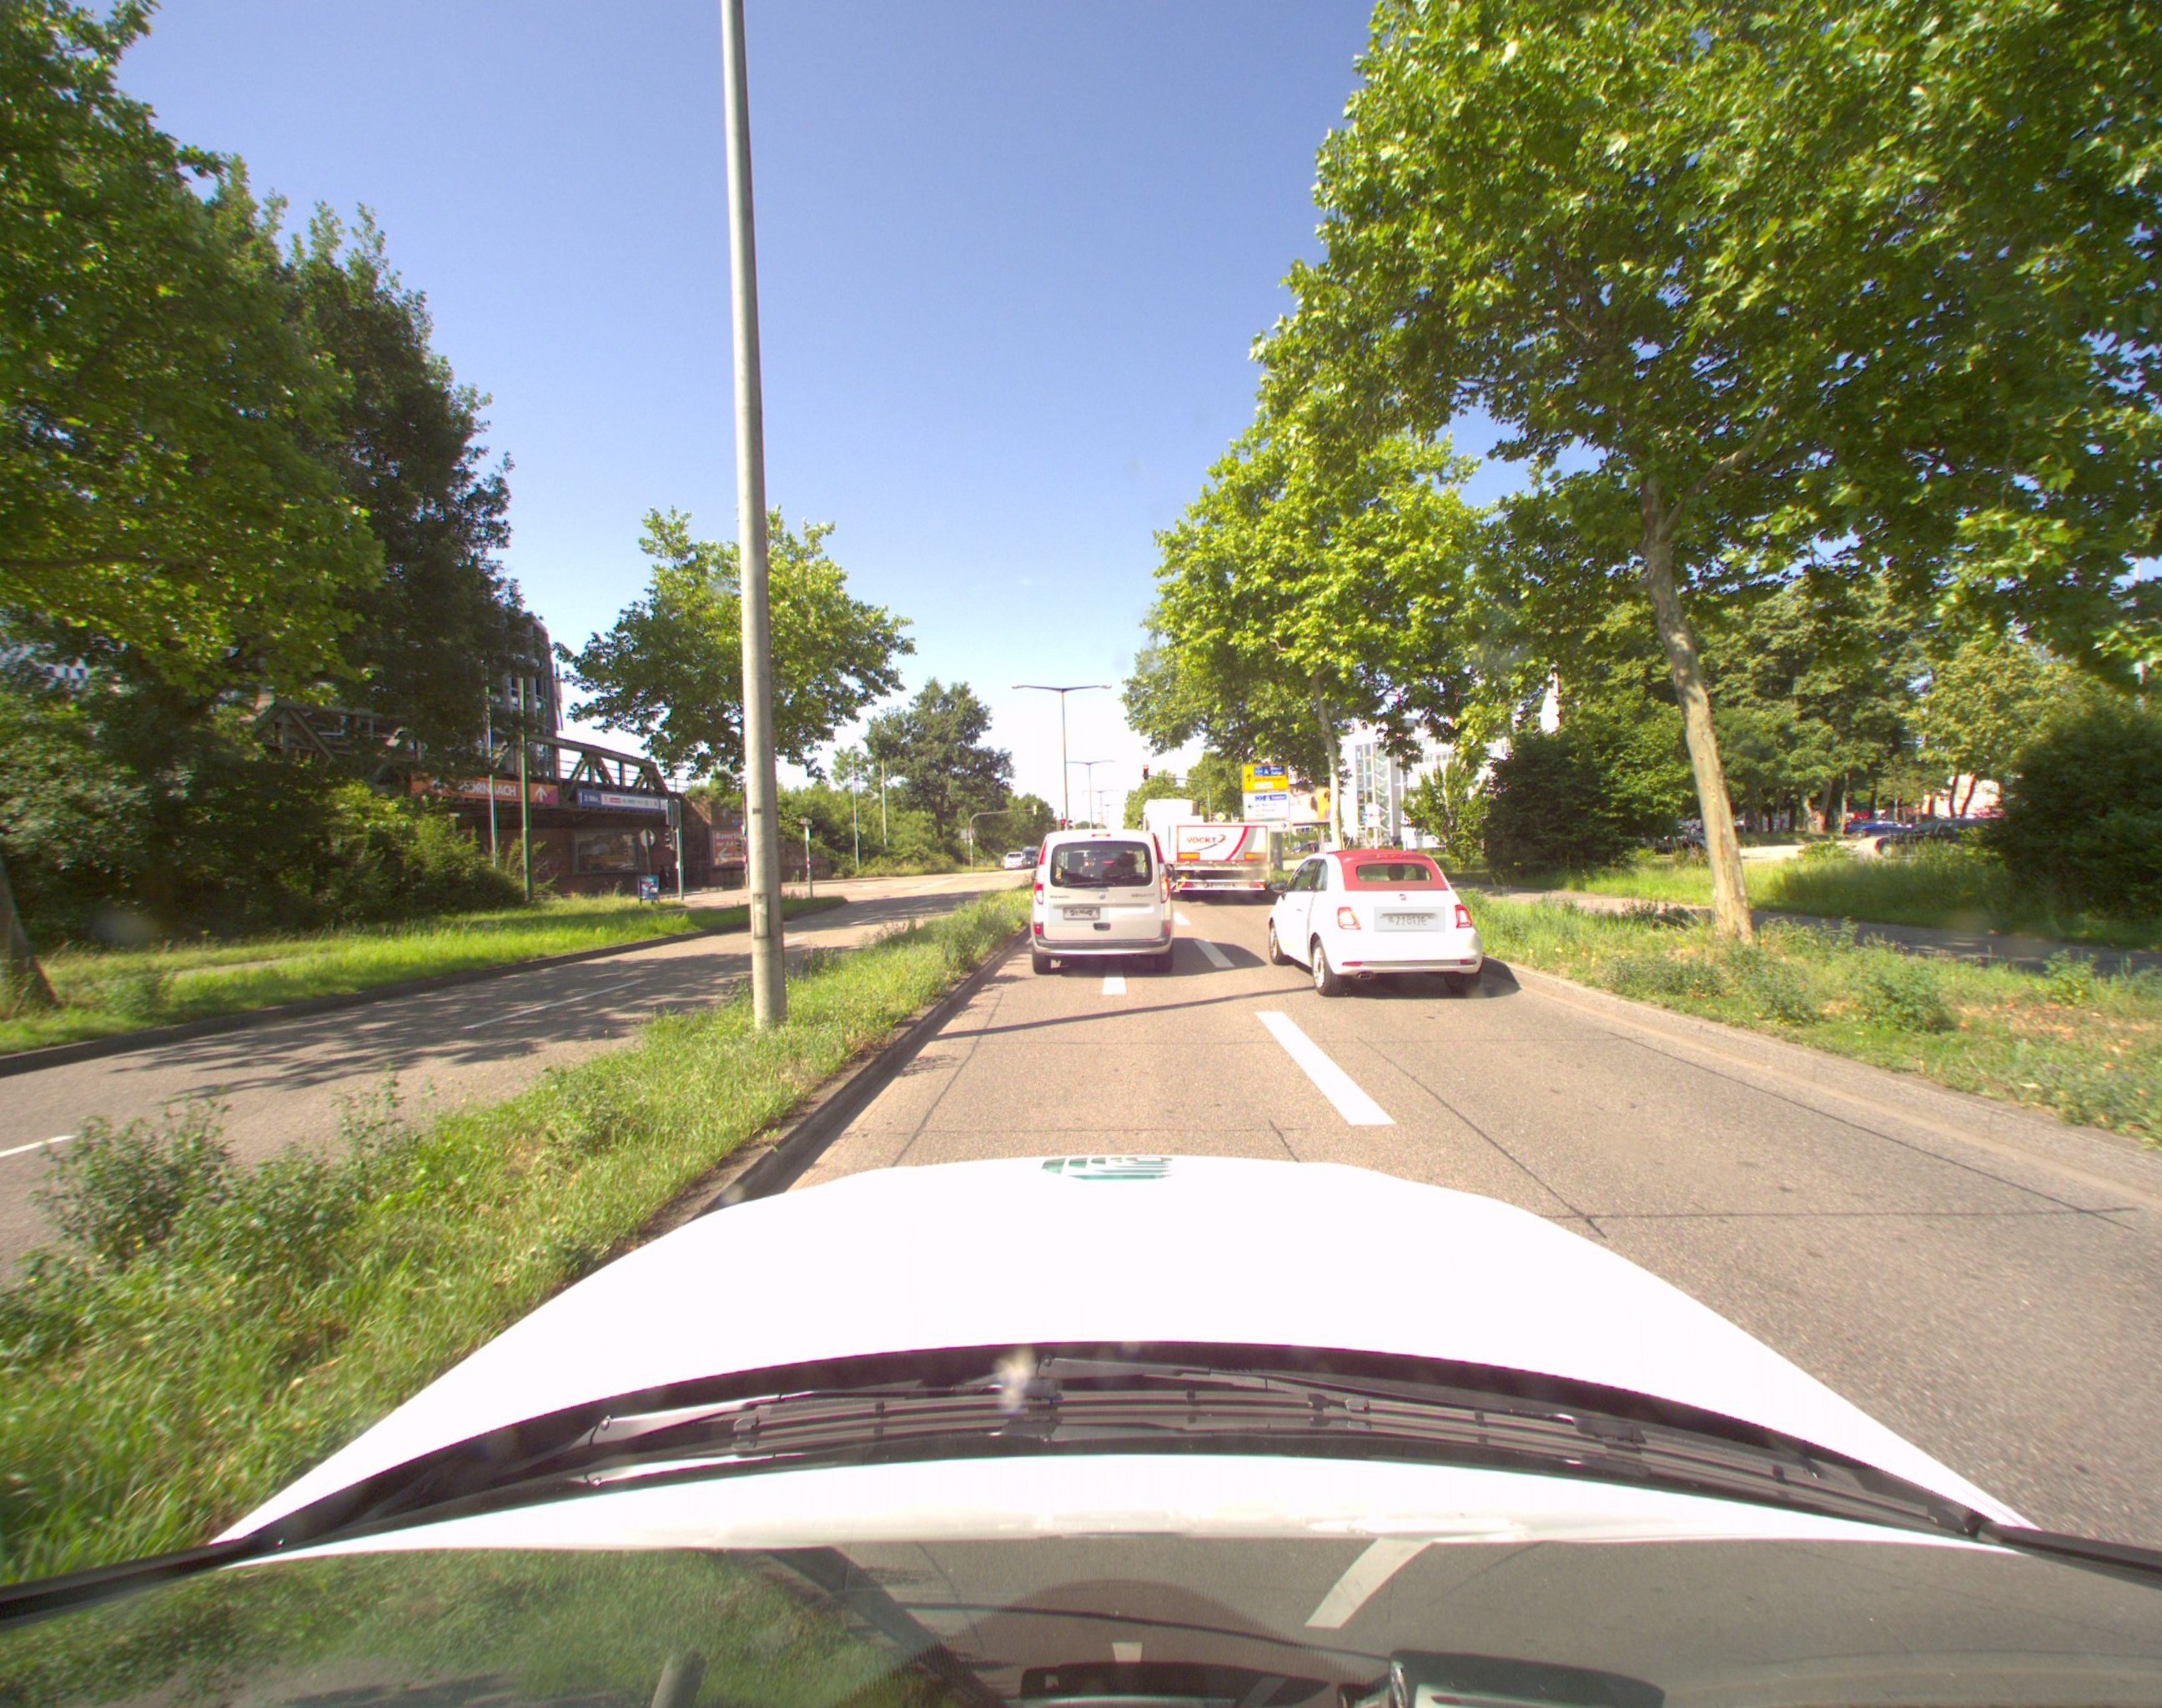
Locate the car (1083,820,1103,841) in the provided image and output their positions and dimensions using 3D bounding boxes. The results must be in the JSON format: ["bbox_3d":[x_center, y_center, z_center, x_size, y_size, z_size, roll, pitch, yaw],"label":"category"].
[{"bbox_3d":[1.180,-2.347,83.728,1.710,2.013,3.995,-1,0,-4],"label":"car"}]

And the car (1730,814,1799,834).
[{"bbox_3d":[55.730,-2.410,66.467,1.727,1.486,3.961,-1,0,-30],"label":"car"}]

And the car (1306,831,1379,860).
[{"bbox_3d":[15.751,-0.487,49.239,3.966,1.662,1.726,-1,0,7],"label":"car"}]

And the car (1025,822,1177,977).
[{"bbox_3d":[0.285,0.535,11.492,1.743,1.772,3.950,-1,0,1],"label":"car"}]

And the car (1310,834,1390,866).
[{"bbox_3d":[15.007,-0.231,45.584,3.966,1.662,1.726,-1,0,7],"label":"car"}]

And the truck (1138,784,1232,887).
[{"bbox_3d":[4.122,-0.680,34.039,3.061,3.758,7.477,-1,0,1],"label":"truck"}]

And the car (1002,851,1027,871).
[{"bbox_3d":[-6.968,0.718,85.913,1.987,1.891,4.988,-4,0,1],"label":"car"}]

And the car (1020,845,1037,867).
[{"bbox_3d":[-6.583,0.240,101.681,2.055,2.614,5.860,-1,0,-4],"label":"car"}]

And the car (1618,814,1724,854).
[{"bbox_3d":[27.192,-0.886,37.612,1.778,1.716,3.703,-1,0,-45],"label":"car"}]

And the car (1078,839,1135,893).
[{"bbox_3d":[0.819,0.385,28.195,1.804,1.684,3.999,-1,0,-1],"label":"car"}]

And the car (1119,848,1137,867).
[{"bbox_3d":[5.386,0.393,93.402,1.986,2.013,4.002,-1,0,2],"label":"car"}]

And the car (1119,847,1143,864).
[{"bbox_3d":[5.130,0.143,83.795,1.989,1.640,3.995,-1,0,-4],"label":"car"}]

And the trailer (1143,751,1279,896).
[{"bbox_3d":[3.864,-0.791,27.423,3.004,3.740,12.246,-1,0,2],"label":"trailer"}]

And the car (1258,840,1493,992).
[{"bbox_3d":[3.224,0.598,9.623,1.654,1.436,3.523,-1,0,3],"label":"car"}]
